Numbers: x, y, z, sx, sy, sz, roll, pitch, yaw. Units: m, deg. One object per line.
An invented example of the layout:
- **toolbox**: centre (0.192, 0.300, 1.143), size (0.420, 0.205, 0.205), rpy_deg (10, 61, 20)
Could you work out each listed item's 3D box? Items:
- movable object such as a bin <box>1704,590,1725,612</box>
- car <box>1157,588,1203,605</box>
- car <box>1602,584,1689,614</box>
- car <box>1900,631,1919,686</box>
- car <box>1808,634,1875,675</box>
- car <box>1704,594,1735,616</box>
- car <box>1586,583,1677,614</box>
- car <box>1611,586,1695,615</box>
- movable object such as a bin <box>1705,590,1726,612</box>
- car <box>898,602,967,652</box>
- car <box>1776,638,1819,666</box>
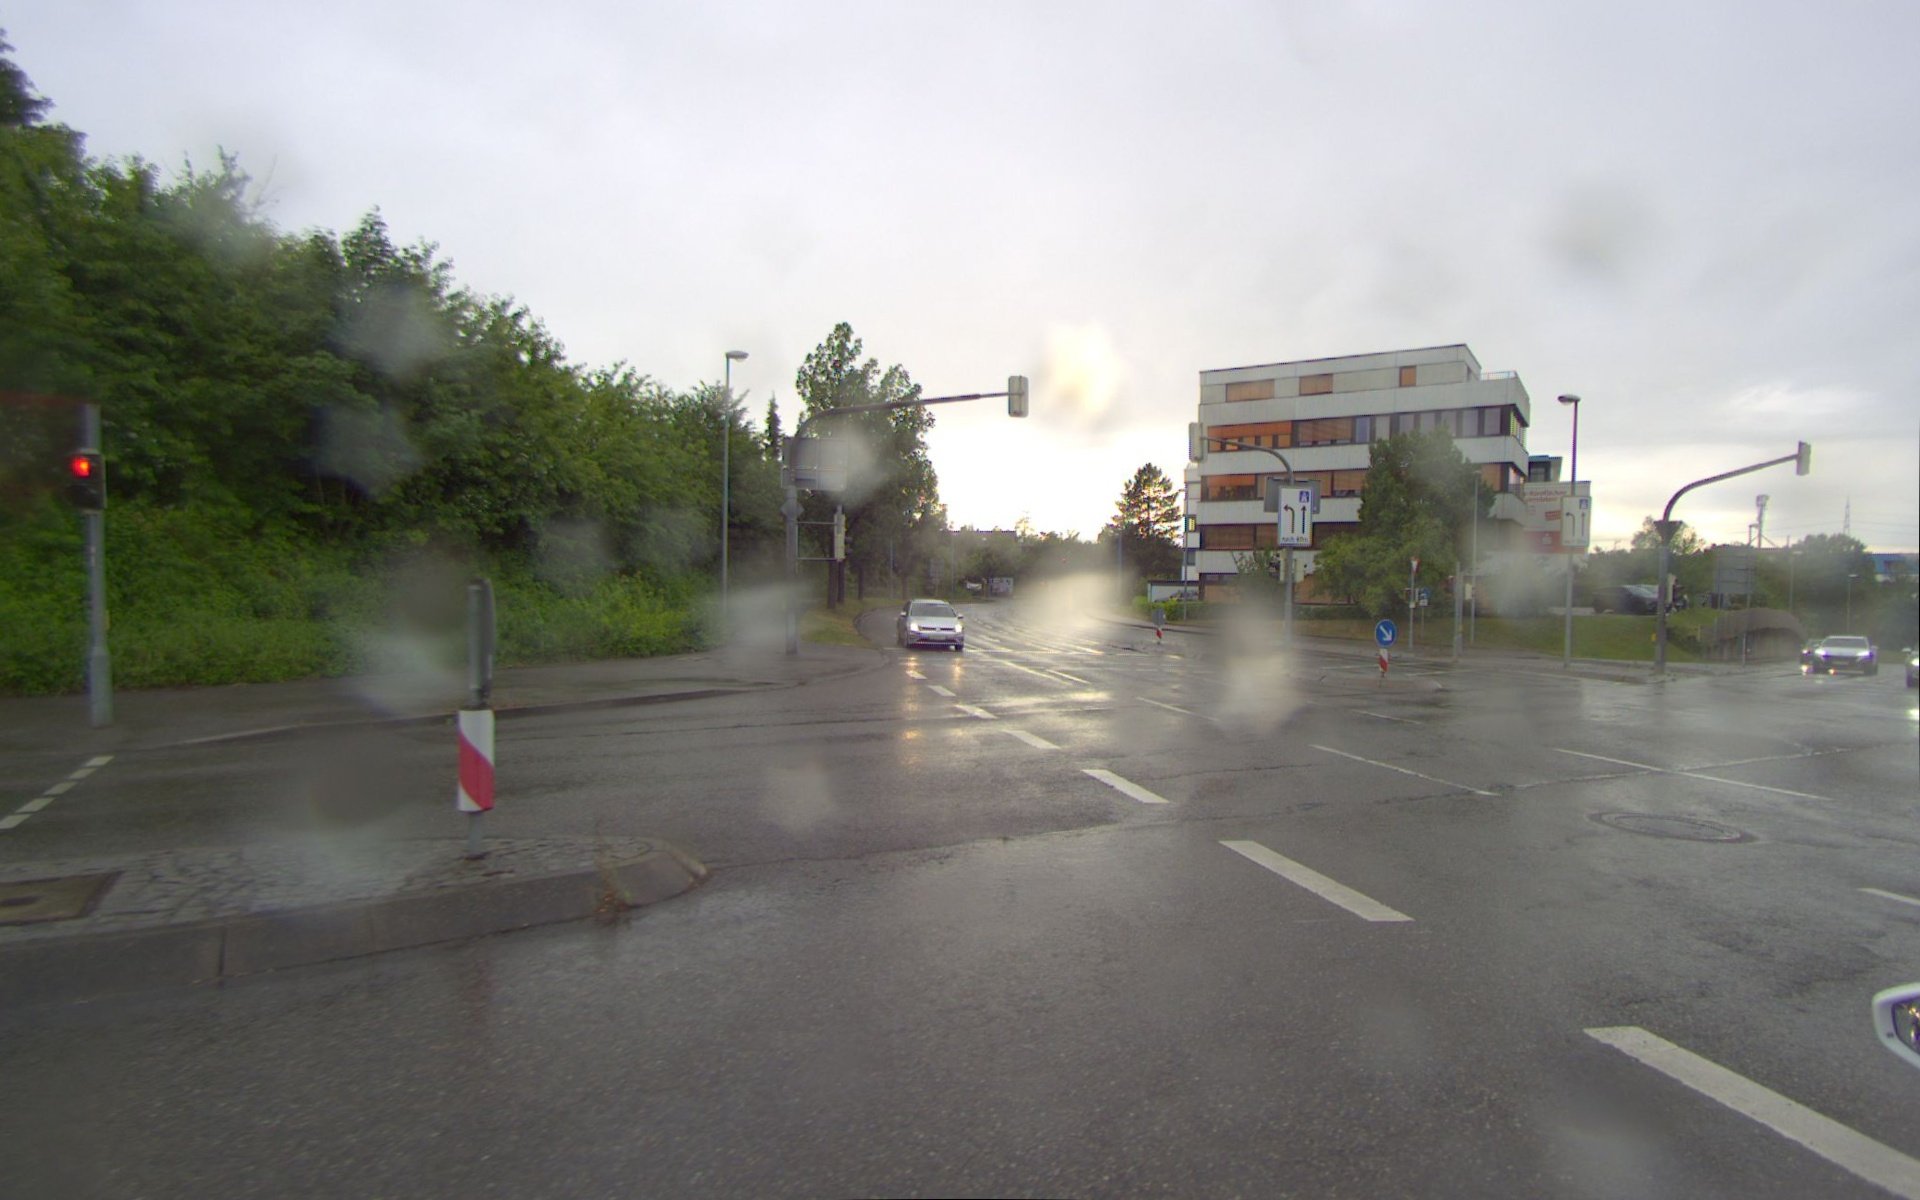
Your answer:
- **movable object such as a bin**: centre (52.644, 0.060, 70.045), size (1.070, 1.456, 1.441), rpy_deg (4, 0, 38)
- **car**: centre (19.728, -0.329, 89.985), size (3.688, 1.418, 1.999), rpy_deg (2, 1, 23)
- **car**: centre (40.423, -0.058, 59.304), size (1.870, 1.607, 3.990), rpy_deg (4, 0, -12)
- **car**: centre (28.536, 1.707, 29.092), size (3.972, 1.514, 1.645), rpy_deg (2, 0, -44)
- **car**: centre (36.303, 2.211, 41.342), size (3.972, 1.514, 1.703), rpy_deg (2, 0, -44)
- **car**: centre (59.446, 0.378, 78.579), size (1.804, 1.461, 3.984), rpy_deg (4, 0, 38)
- **car**: centre (38.381, -0.100, 57.538), size (1.872, 1.607, 3.986), rpy_deg (4, 0, -16)
- **car**: centre (42.404, 0.002, 61.534), size (1.870, 1.607, 3.990), rpy_deg (4, 0, -12)
- **movable object such as a bin**: centre (53.588, 0.089, 71.234), size (1.070, 1.456, 1.441), rpy_deg (4, 0, 38)
- **car**: centre (-0.934, 0.790, 31.349), size (1.730, 1.381, 4.527), rpy_deg (2, 0, -6)
- **car**: centre (51.967, 3.177, 62.305), size (1.877, 1.475, 3.979), rpy_deg (2, 1, 42)
